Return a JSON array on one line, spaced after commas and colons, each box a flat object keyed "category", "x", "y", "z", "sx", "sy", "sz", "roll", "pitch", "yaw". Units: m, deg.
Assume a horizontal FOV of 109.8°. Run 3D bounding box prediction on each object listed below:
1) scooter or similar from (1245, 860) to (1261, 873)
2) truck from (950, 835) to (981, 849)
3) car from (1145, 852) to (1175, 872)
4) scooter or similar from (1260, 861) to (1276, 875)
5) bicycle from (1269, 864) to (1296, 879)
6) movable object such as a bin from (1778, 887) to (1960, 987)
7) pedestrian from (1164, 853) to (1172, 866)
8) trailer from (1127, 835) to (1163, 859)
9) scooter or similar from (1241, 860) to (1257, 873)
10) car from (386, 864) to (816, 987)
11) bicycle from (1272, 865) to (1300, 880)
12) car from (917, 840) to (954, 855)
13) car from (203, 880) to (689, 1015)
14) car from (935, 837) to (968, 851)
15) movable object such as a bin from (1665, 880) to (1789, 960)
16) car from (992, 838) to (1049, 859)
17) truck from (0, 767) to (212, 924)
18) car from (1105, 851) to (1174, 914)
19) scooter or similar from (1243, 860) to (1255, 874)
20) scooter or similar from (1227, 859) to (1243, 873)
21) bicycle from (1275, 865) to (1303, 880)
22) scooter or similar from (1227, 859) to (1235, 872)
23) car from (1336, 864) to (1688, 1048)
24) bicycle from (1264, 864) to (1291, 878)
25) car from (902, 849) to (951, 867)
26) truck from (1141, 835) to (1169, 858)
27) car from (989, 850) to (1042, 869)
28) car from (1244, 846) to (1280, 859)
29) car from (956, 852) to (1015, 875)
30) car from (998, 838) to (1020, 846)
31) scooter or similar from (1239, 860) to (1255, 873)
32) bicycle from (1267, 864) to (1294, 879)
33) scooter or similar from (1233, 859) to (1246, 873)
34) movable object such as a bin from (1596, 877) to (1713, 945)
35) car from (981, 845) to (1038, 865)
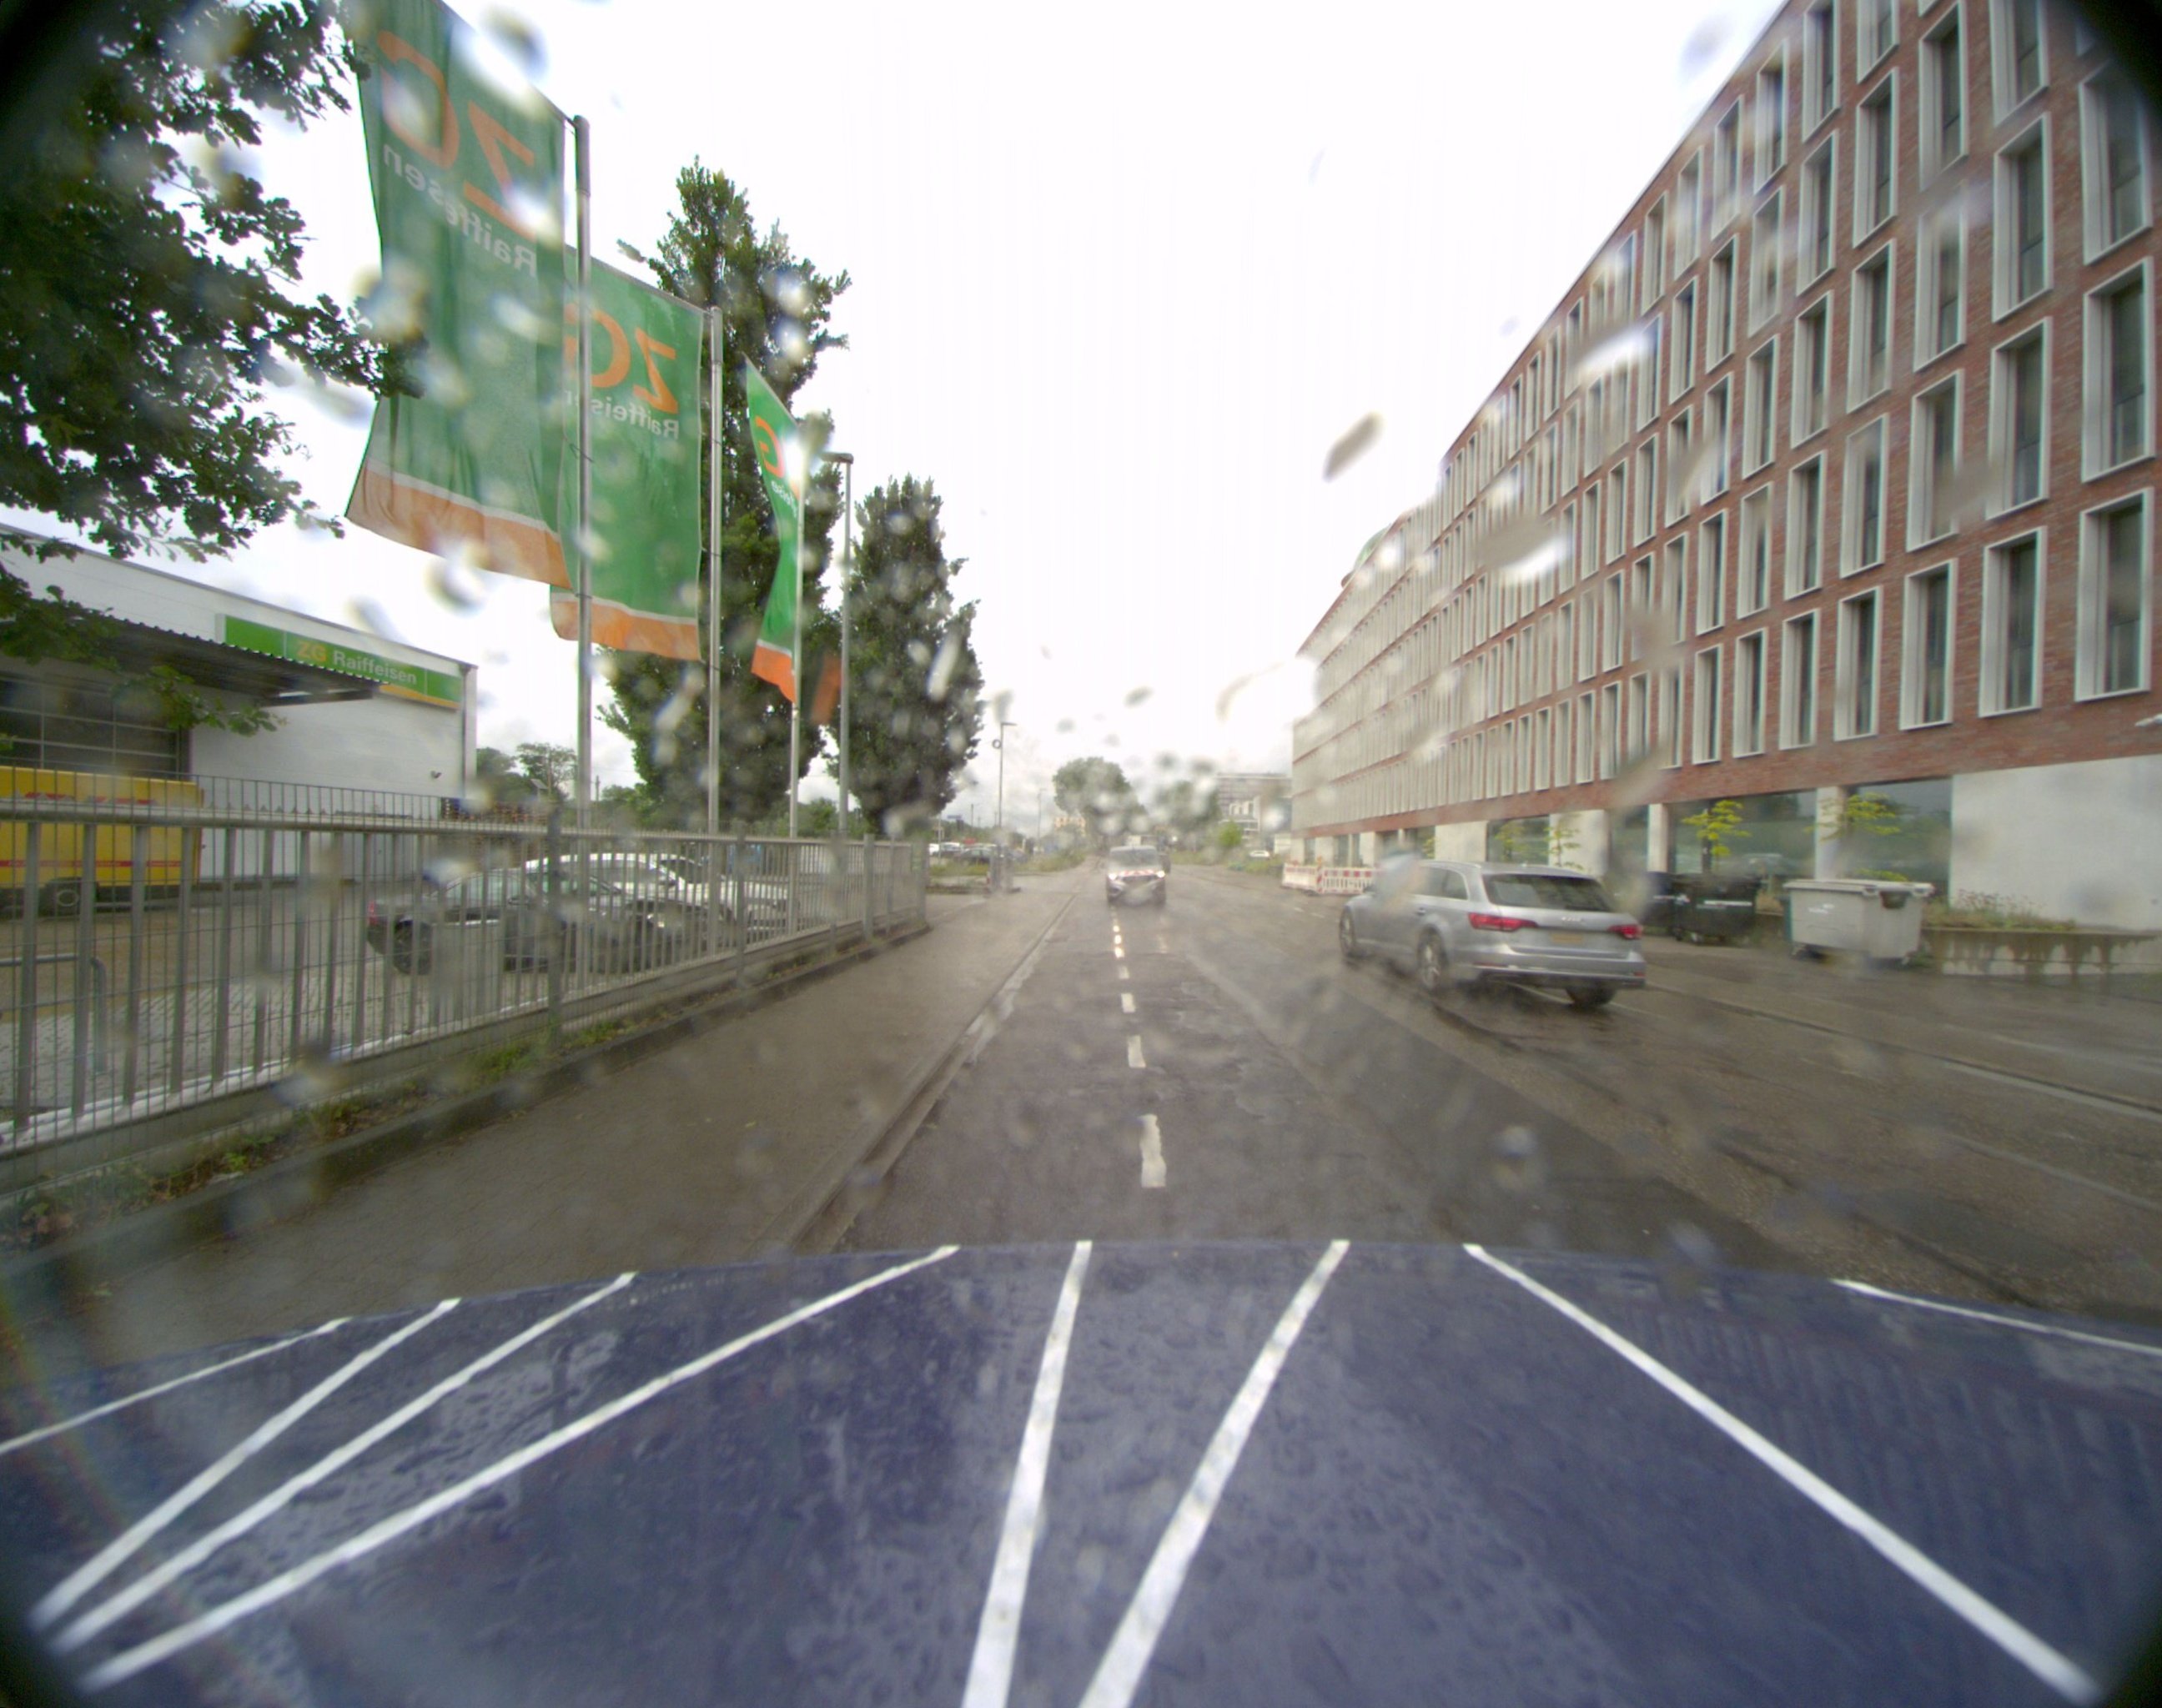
[{"category": "scooter or similar", "x": 15.864, "y": 1.125, "z": 70.132, "sx": 1.319, "sy": 1.171, "sz": 0.467, "roll": 2, "pitch": 1, "yaw": 8}, {"category": "truck", "x": -21.348, "y": -2.151, "z": 140.214, "sx": 5.301, "sy": 2.354, "sz": 2.153, "roll": 2, "pitch": 1, "yaw": 2}, {"category": "car", "x": 6.702, "y": 0.635, "z": 64.602, "sx": 1.764, "sy": 1.559, "sz": 4.147, "roll": 2, "pitch": 0, "yaw": -4}, {"category": "scooter or similar", "x": 16.046, "y": 1.212, "z": 65.256, "sx": 1.228, "sy": 1.201, "sz": 0.418, "roll": 2, "pitch": 1, "yaw": 9}, {"category": "bicycle", "x": 15.096, "y": 1.317, "z": 56.897, "sx": 1.864, "sy": 1.071, "sz": 0.544, "roll": -1, "pitch": 1, "yaw": 1}, {"category": "movable object such as a bin", "x": 11.857, "y": 1.214, "z": 11.512, "sx": 1.299, "sy": 1.324, "sz": 1.358, "roll": 1, "pitch": 1, "yaw": 1}, {"category": "pedestrian", "x": 11.710, "y": 0.729, "z": 102.576, "sx": 0.910, "sy": 1.708, "sz": 1.026, "roll": 1, "pitch": 2, "yaw": 2}, {"category": "trailer", "x": 12.938, "y": -1.436, "z": 152.157, "sx": 3.297, "sy": 4.627, "sz": 13.753, "roll": 2, "pitch": 1, "yaw": 20}, {"category": "scooter or similar", "x": 15.213, "y": 1.141, "z": 68.825, "sx": 1.321, "sy": 1.171, "sz": 0.467, "roll": 2, "pitch": 1, "yaw": -9}, {"category": "car", "x": -6.326, "y": 0.899, "z": 10.428, "sx": 4.714, "sy": 1.454, "sz": 1.890, "roll": 0, "pitch": 1, "yaw": 1}, {"category": "bicycle", "x": 15.093, "y": 1.329, "z": 55.974, "sx": 1.864, "sy": 1.071, "sz": 0.544, "roll": -1, "pitch": 1, "yaw": 1}, {"category": "car", "x": -16.868, "y": -0.800, "z": 88.221, "sx": 3.837, "sy": 1.476, "sz": 1.928, "roll": 4, "pitch": 2, "yaw": 5}, {"category": "car", "x": -6.681, "y": 0.945, "z": 8.295, "sx": 3.948, "sy": 1.249, "sz": 1.619, "roll": 0, "pitch": 1, "yaw": 1}, {"category": "car", "x": -16.878, "y": -1.339, "z": 99.170, "sx": 3.911, "sy": 1.575, "sz": 1.786, "roll": 4, "pitch": 3, "yaw": 5}, {"category": "movable object such as a bin", "x": 11.905, "y": 1.178, "z": 14.098, "sx": 1.375, "sy": 1.301, "sz": 1.451, "roll": 1, "pitch": 1, "yaw": 24}, {"category": "car", "x": -5.453, "y": -0.495, "z": 68.842, "sx": 4.690, "sy": 1.725, "sz": 2.128, "roll": 2, "pitch": 2, "yaw": 7}, {"category": "truck", "x": -19.455, "y": -0.179, "z": 12.082, "sx": 2.305, "sy": 2.644, "sz": 7.419, "roll": 2, "pitch": 1, "yaw": 5}, {"category": "car", "x": 1.747, "y": 0.819, "z": 23.871, "sx": 1.838, "sy": 1.714, "sz": 4.172, "roll": 2, "pitch": 1, "yaw": 1}, {"category": "scooter or similar", "x": 14.841, "y": 1.165, "z": 67.097, "sx": 0.466, "sy": 1.201, "sz": 1.211, "roll": 3, "pitch": 1, "yaw": 45}, {"category": "scooter or similar", "x": 13.887, "y": 1.096, "z": 68.533, "sx": 1.317, "sy": 1.223, "sz": 0.468, "roll": 2, "pitch": 1, "yaw": 31}, {"category": "bicycle", "x": 15.102, "y": 1.349, "z": 55.112, "sx": 1.864, "sy": 1.071, "sz": 0.544, "roll": -1, "pitch": 1, "yaw": 1}, {"category": "scooter or similar", "x": 14.013, "y": 1.076, "z": 71.140, "sx": 0.467, "sy": 1.223, "sz": 1.320, "roll": 2, "pitch": 1, "yaw": -1}, {"category": "car", "x": 4.545, "y": 0.929, "z": 8.927, "sx": 1.737, "sy": 1.442, "sz": 4.381, "roll": 4, "pitch": 0, "yaw": 3}, {"category": "bicycle", "x": 15.094, "y": 1.306, "z": 58.418, "sx": 1.953, "sy": 1.071, "sz": 0.620, "roll": -1, "pitch": 1, "yaw": 1}, {"category": "car", "x": -15.498, "y": 0.359, "z": 76.456, "sx": 4.632, "sy": 1.707, "sz": 2.018, "roll": 0, "pitch": 2, "yaw": -3}, {"category": "truck", "x": 15.508, "y": -1.470, "z": 158.682, "sx": 3.295, "sy": 4.627, "sz": 6.045, "roll": 2, "pitch": 2, "yaw": 33}, {"category": "car", "x": -5.572, "y": 0.455, "z": 65.242, "sx": 4.305, "sy": 1.508, "sz": 1.819, "roll": 0, "pitch": 2, "yaw": 3}, {"category": "car", "x": 25.788, "y": -0.237, "z": 108.430, "sx": 4.533, "sy": 1.632, "sz": 1.999, "roll": 1, "pitch": 1, "yaw": 0}, {"category": "car", "x": -7.044, "y": 0.673, "z": 56.482, "sx": 4.230, "sy": 1.392, "sz": 1.889, "roll": 3, "pitch": 2, "yaw": -6}, {"category": "car", "x": -14.274, "y": -2.412, "z": 150.701, "sx": 4.074, "sy": 1.482, "sz": 1.926, "roll": 3, "pitch": 2, "yaw": 4}, {"category": "scooter or similar", "x": 15.437, "y": 1.128, "z": 70.704, "sx": 1.319, "sy": 1.171, "sz": 0.467, "roll": 2, "pitch": 1, "yaw": 8}, {"category": "bicycle", "x": 15.114, "y": 1.310, "z": 57.558, "sx": 1.864, "sy": 1.071, "sz": 0.544, "roll": -1, "pitch": 1, "yaw": 1}, {"category": "scooter or similar", "x": 14.551, "y": 1.067, "z": 69.789, "sx": 0.468, "sy": 1.223, "sz": 1.317, "roll": 1, "pitch": 1, "yaw": -26}, {"category": "movable object such as a bin", "x": 11.895, "y": 1.160, "z": 15.825, "sx": 1.299, "sy": 1.301, "sz": 1.448, "roll": 1, "pitch": 1, "yaw": -4}, {"category": "car", "x": -5.585, "y": 0.049, "z": 59.614, "sx": 4.191, "sy": 1.501, "sz": 1.890, "roll": 0, "pitch": 2, "yaw": 3}]
